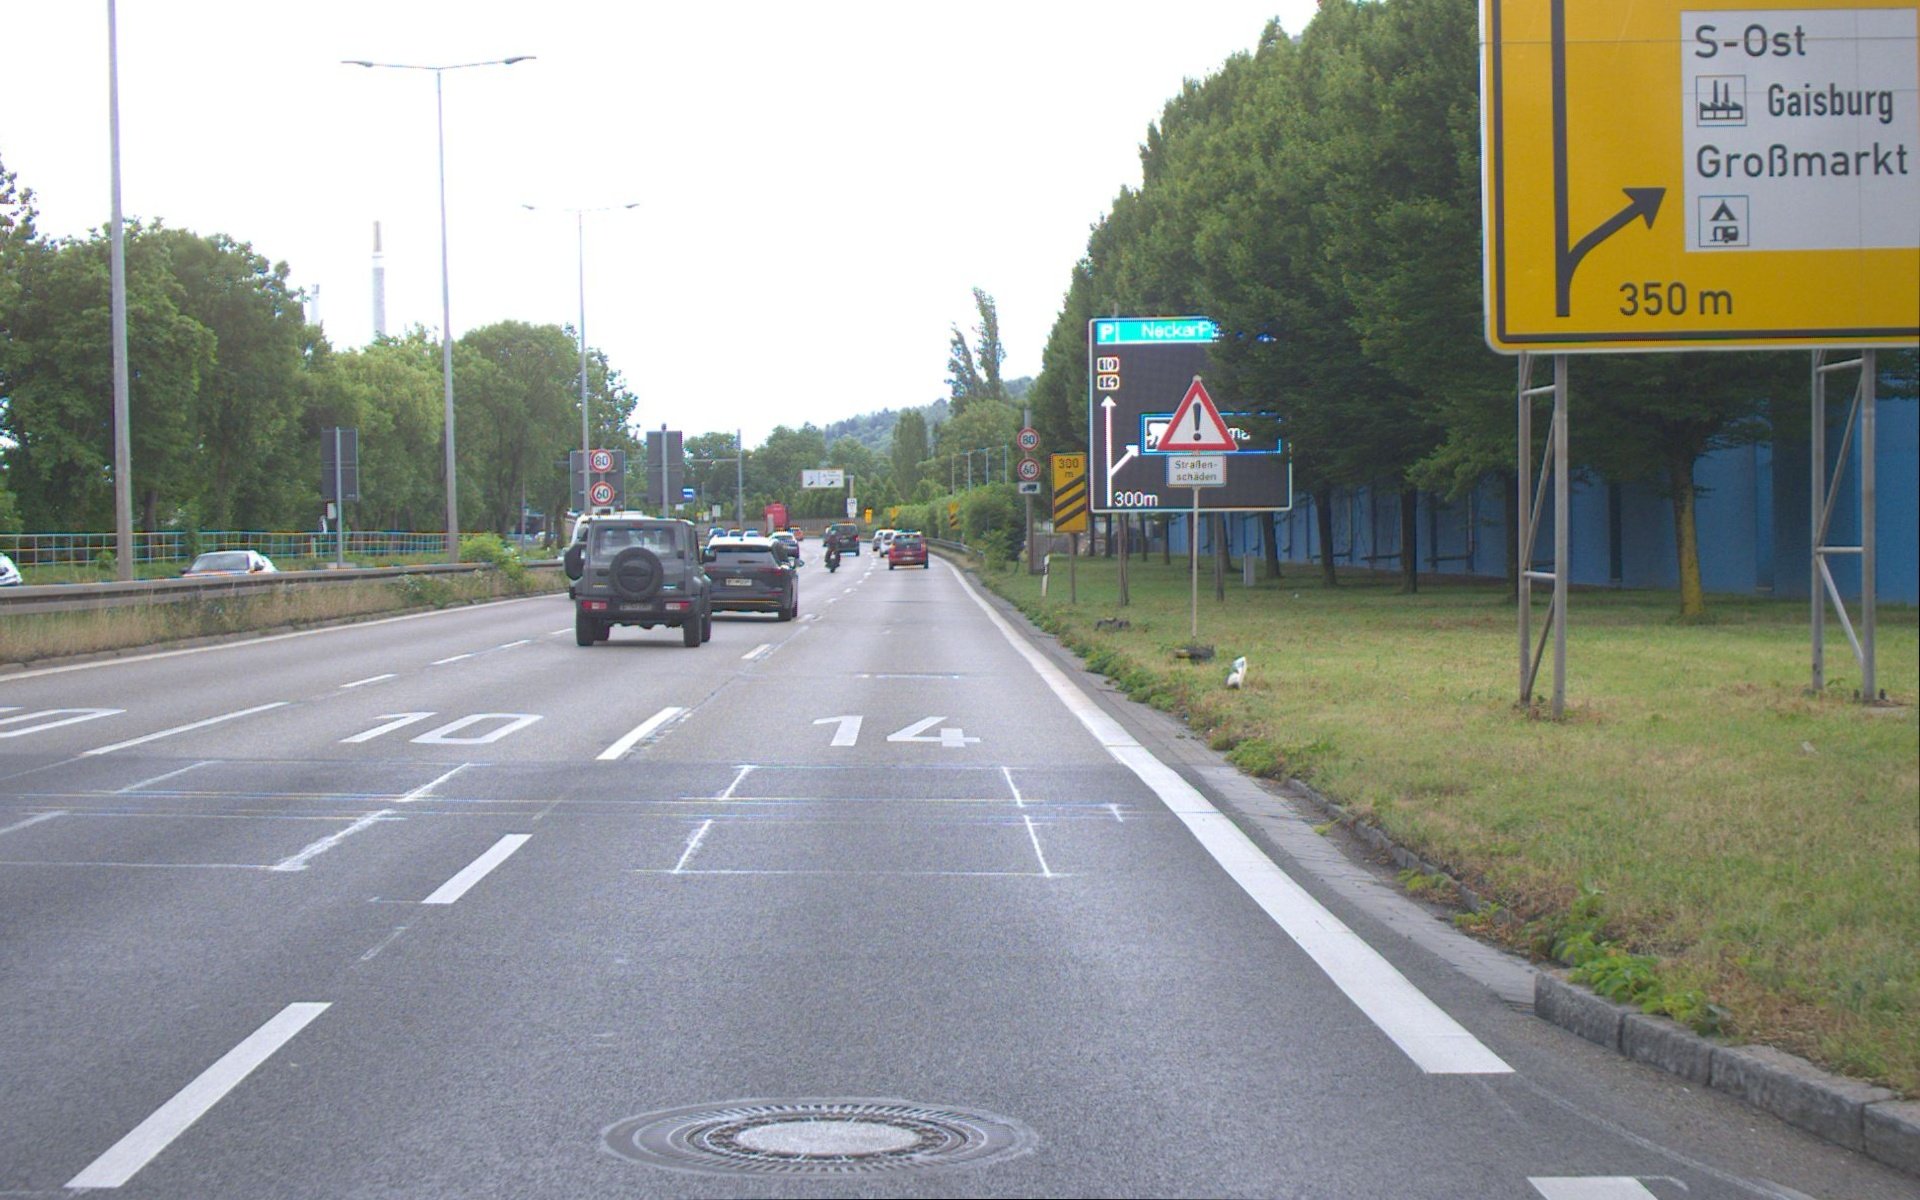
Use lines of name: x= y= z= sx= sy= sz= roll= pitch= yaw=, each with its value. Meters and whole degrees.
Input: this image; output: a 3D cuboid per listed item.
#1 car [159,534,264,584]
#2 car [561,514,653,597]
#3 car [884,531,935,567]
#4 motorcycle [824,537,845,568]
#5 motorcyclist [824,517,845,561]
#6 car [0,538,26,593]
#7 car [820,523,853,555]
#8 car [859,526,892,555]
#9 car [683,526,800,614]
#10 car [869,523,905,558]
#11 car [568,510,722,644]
car: x=-17.148 y=-0.959 z=78.881 sx=1.545 sy=1.102 sz=4.067 roll=0 pitch=1 yaw=-1
car: x=-7.850 y=-1.016 z=76.640 sx=1.697 sy=1.736 sz=4.001 roll=2 pitch=1 yaw=-2
car: x=-2.132 y=-2.143 z=143.680 sx=1.974 sy=1.418 sz=4.901 roll=-2 pitch=1 yaw=-2
motorcycle: x=-5.026 y=-1.901 z=137.709 sx=0.791 sy=1.215 sz=2.330 roll=0 pitch=1 yaw=-1
motorcyclist: x=-5.033 y=-2.465 z=137.772 sx=0.791 sy=1.754 sz=0.923 roll=0 pitch=1 yaw=-1
car: x=-23.815 y=-0.817 z=82.755 sx=1.578 sy=1.294 sz=4.061 roll=0 pitch=1 yaw=-1
car: x=-7.639 y=-3.759 z=212.652 sx=2.013 sy=1.927 sz=4.901 roll=0 pitch=1 yaw=-2
car: x=-5.891 y=-4.151 z=239.230 sx=2.013 sy=1.927 sz=4.901 roll=-2 pitch=1 yaw=-4
car: x=-3.785 y=-0.540 z=60.283 sx=1.845 sy=1.418 sz=4.901 roll=-2 pitch=1 yaw=-2
car: x=-4.256 y=-3.445 z=200.216 sx=2.013 sy=1.927 sz=4.901 roll=-2 pitch=1 yaw=-2
car: x=-4.191 y=-0.344 z=46.234 sx=1.697 sy=1.680 sz=4.000 roll=2 pitch=1 yaw=-1
